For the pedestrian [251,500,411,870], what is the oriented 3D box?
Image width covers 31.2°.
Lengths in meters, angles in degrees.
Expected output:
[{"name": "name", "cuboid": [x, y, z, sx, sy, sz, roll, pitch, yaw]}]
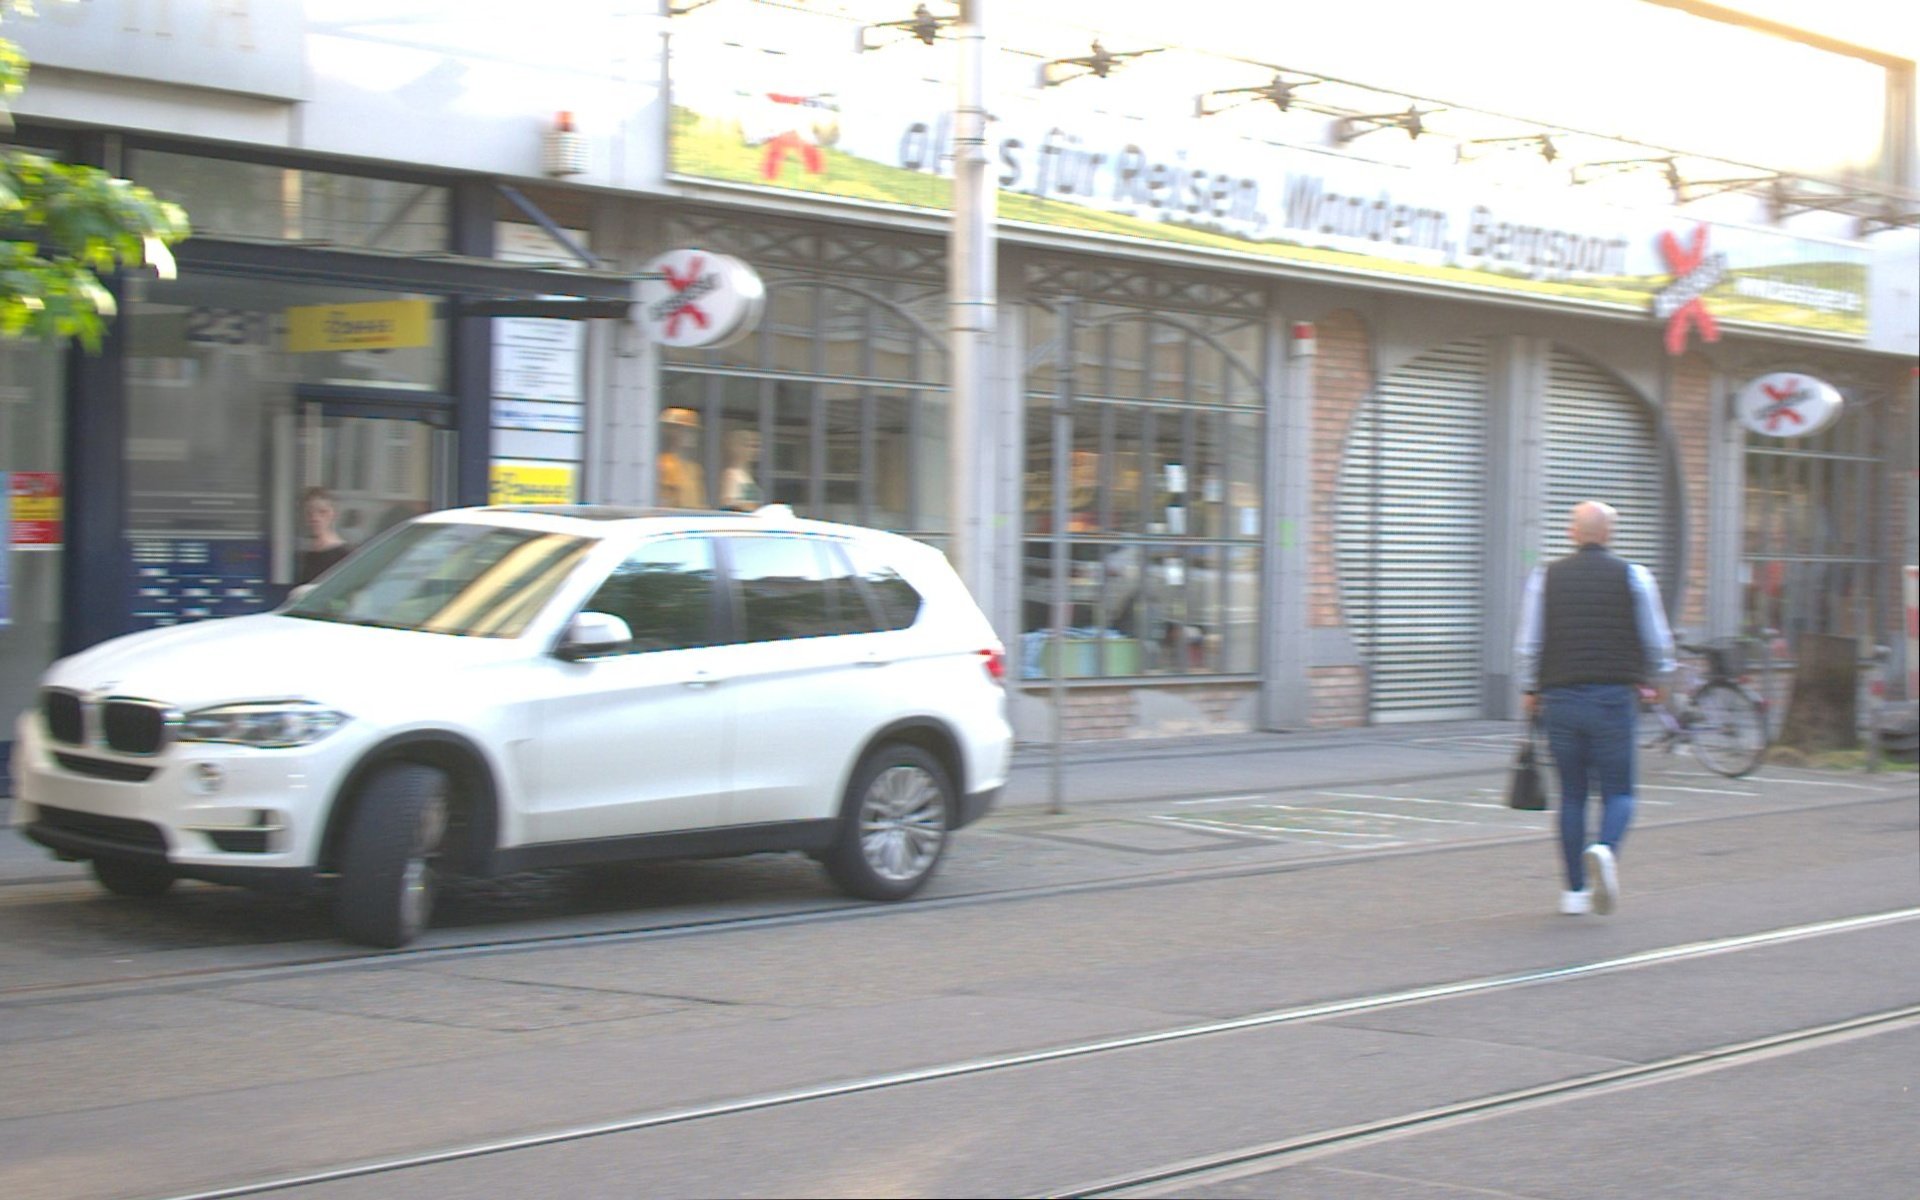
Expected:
[{"name": "pedestrian", "cuboid": [-3.489, 0.455, 19.065, 0.616, 2.007, 0.591, 1, 0, 39]}]

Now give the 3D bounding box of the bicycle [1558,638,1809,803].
[{"name": "bicycle", "cuboid": [5.132, 0.839, 24.469, 0.477, 0.988, 1.750, 0, 4, -42]}]

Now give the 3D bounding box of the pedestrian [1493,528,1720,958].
[{"name": "pedestrian", "cuboid": [2.731, 0.585, 14.611, 0.850, 1.760, 0.832, 1, 0, 6]}]

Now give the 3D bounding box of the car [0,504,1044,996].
[{"name": "car", "cuboid": [-1.918, 0.538, 15.115, 1.998, 1.748, 4.733, 4, 2, 40]}]
